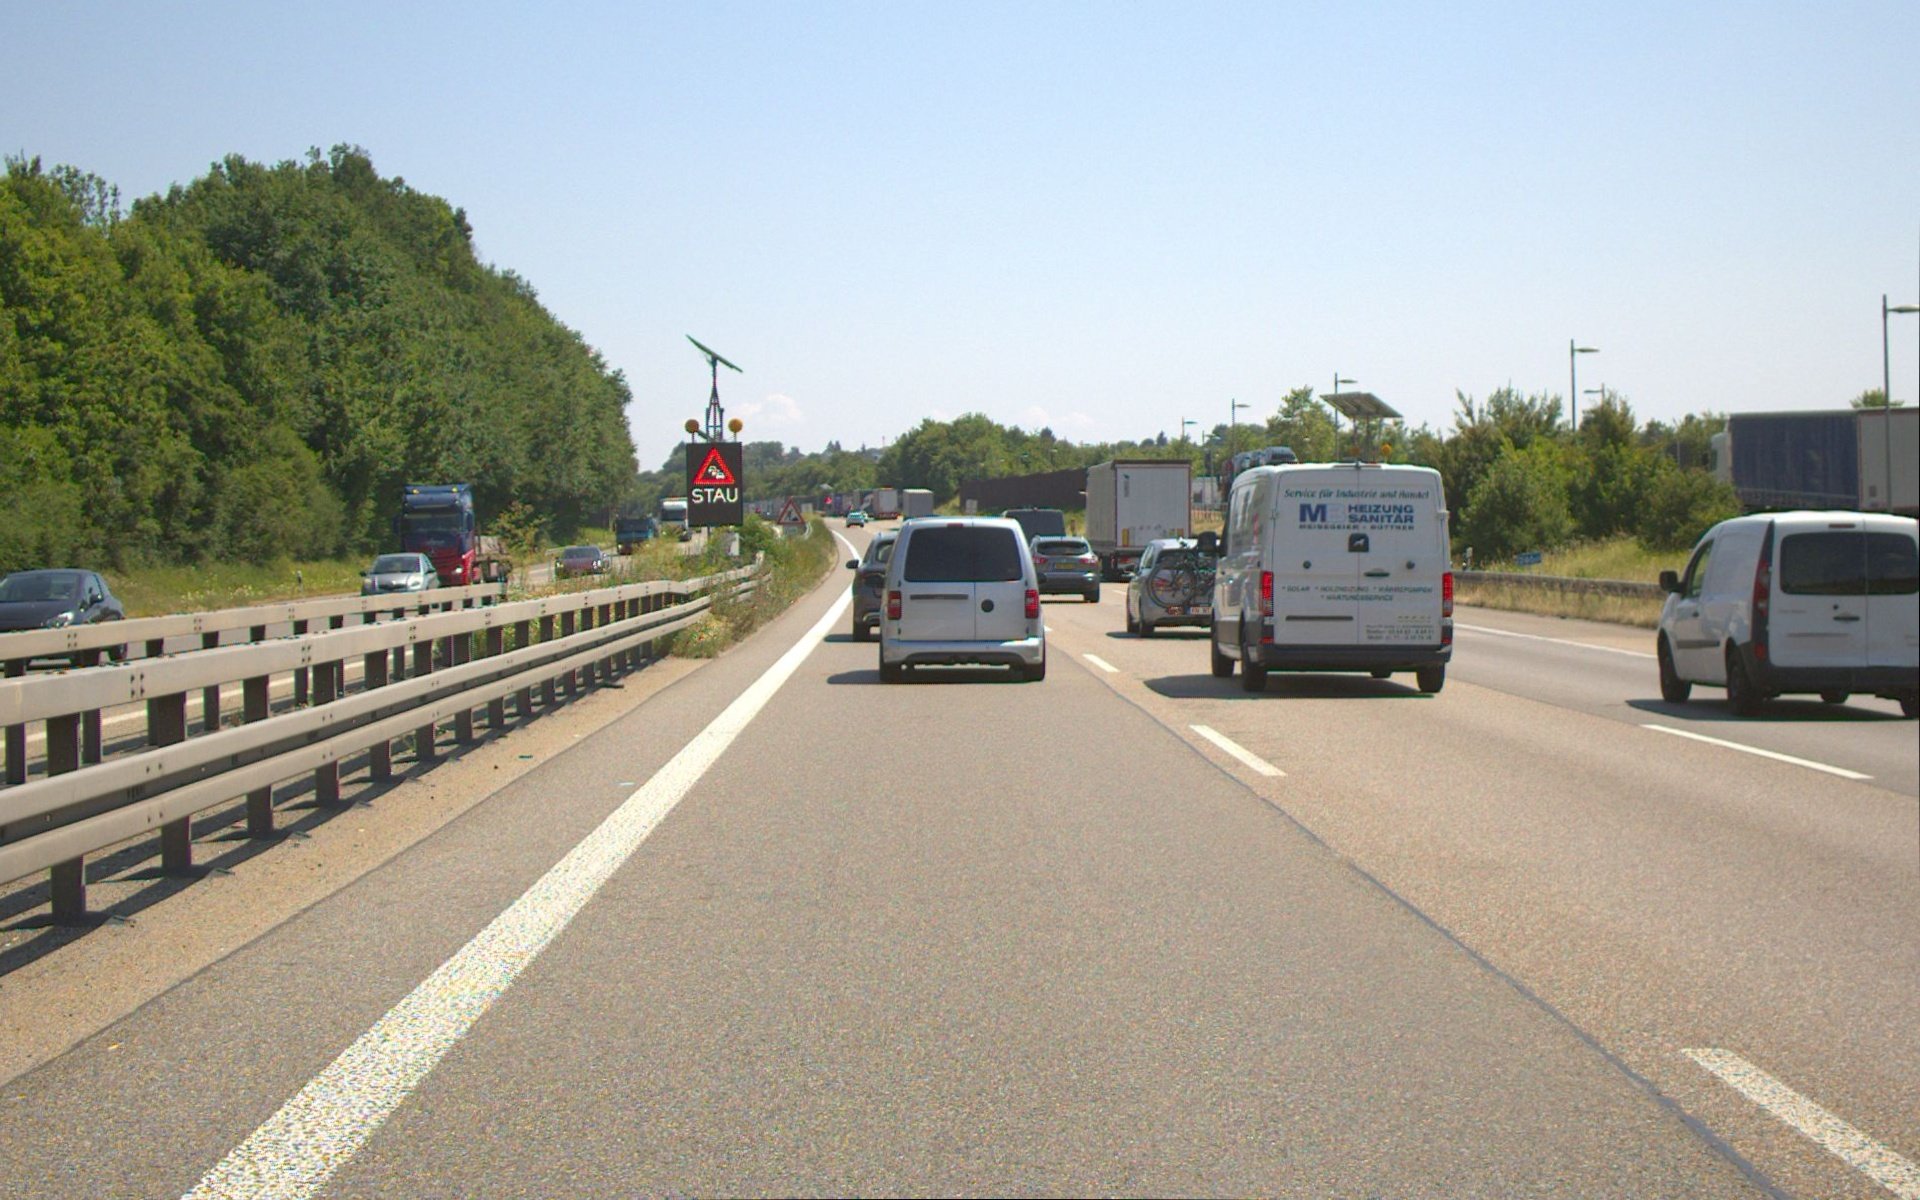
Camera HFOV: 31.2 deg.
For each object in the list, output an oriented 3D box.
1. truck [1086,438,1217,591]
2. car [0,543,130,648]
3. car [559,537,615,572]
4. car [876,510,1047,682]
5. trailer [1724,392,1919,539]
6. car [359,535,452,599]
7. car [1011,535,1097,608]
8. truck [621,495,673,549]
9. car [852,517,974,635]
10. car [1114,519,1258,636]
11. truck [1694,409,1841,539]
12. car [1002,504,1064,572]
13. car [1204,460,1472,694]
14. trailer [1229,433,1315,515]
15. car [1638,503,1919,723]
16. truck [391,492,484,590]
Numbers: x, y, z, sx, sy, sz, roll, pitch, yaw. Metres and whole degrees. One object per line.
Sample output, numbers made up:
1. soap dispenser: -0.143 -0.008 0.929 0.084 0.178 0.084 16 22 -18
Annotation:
1. truck: 6.517 -2.891 118.992 3.788 4.982 12.519 1 1 0
2. car: -13.879 -0.079 51.616 1.712 1.463 4.146 -3 1 1
3. car: -15.258 -1.888 140.847 1.769 1.330 4.921 -2 1 -1
4. car: 0.017 -0.073 37.953 1.745 1.758 4.089 -1 1 0
5. trailer: 26.315 -3.891 103.485 3.052 4.069 14.259 1 1 -2
6. car: -14.476 -0.886 89.871 1.782 1.525 3.884 -4 1 -1
7. car: 2.228 -0.699 82.019 1.902 1.666 4.089 -1 1 0
8. truck: -22.850 -5.696 251.595 2.996 3.789 10.790 -1 1 -1
9. car: -0.684 -0.386 52.581 1.745 1.695 4.089 -1 1 0
10. car: 3.519 -0.379 54.171 1.976 1.727 4.089 -1 1 0
11. truck: 26.092 -4.019 111.344 3.052 4.069 6.399 1 1 -1
12. car: 2.101 -1.799 99.638 1.674 1.885 4.089 -1 1 0
13. car: 3.832 -0.269 35.790 2.181 2.246 5.363 0 1 0
14. trailer: 17.610 -7.066 195.347 2.605 4.243 18.424 1 1 -2
15. car: 7.617 0.068 31.168 1.950 1.831 4.179 -1 1 -2
16. truck: -19.470 -2.209 128.235 2.996 3.546 3.118 -1 1 -1
